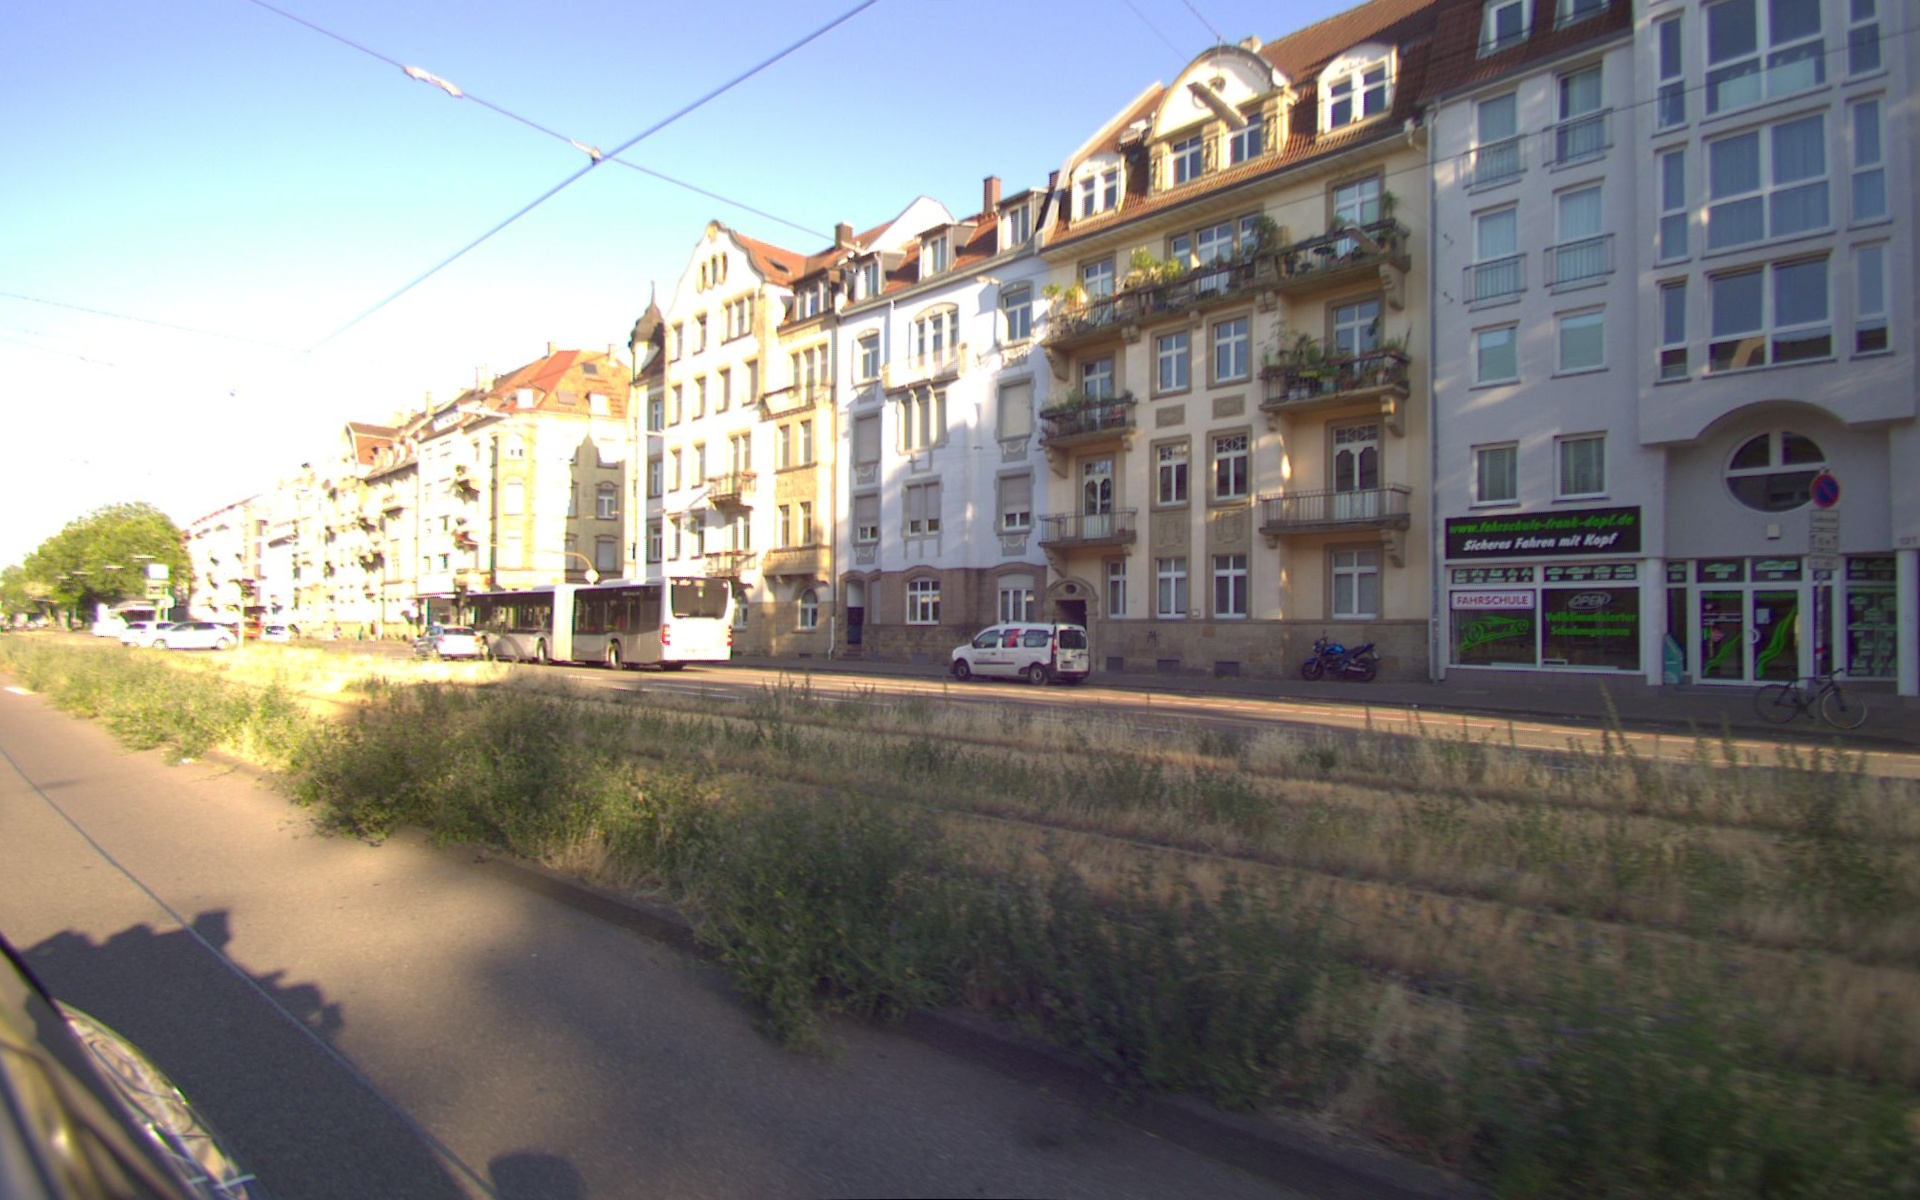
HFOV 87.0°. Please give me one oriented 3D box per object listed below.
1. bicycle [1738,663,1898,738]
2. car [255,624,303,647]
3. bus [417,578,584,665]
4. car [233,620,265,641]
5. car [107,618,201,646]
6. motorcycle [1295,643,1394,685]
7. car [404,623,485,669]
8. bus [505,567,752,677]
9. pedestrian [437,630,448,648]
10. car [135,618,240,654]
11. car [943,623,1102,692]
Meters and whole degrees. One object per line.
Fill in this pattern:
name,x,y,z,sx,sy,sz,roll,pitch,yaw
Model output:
bicycle,14.564,1.670,17.233,0.747,1.040,1.900,-5,2,-32
car,-46.622,2.431,69.367,1.708,1.491,3.826,1,-2,-18
bus,-20.285,0.883,44.251,9.902,3.400,3.229,0,-1,44
car,-69.757,2.975,99.294,1.892,1.914,4.313,2,-1,-44
car,-44.062,1.740,55.455,1.819,1.461,4.110,1,-1,0
motorcycle,10.072,1.661,26.605,2.421,1.029,0.522,-1,0,44
car,-20.781,1.808,40.728,1.906,1.697,4.005,2,-1,-42
bus,-12.337,0.730,36.582,11.980,3.400,3.218,0,-1,44
pedestrian,-37.944,2.857,74.193,0.555,1.373,0.546,-2,-2,44
car,-38.937,1.804,51.073,1.836,1.719,3.943,0,-1,43
car,1.756,1.607,29.737,1.882,1.800,4.657,2,-1,-43
